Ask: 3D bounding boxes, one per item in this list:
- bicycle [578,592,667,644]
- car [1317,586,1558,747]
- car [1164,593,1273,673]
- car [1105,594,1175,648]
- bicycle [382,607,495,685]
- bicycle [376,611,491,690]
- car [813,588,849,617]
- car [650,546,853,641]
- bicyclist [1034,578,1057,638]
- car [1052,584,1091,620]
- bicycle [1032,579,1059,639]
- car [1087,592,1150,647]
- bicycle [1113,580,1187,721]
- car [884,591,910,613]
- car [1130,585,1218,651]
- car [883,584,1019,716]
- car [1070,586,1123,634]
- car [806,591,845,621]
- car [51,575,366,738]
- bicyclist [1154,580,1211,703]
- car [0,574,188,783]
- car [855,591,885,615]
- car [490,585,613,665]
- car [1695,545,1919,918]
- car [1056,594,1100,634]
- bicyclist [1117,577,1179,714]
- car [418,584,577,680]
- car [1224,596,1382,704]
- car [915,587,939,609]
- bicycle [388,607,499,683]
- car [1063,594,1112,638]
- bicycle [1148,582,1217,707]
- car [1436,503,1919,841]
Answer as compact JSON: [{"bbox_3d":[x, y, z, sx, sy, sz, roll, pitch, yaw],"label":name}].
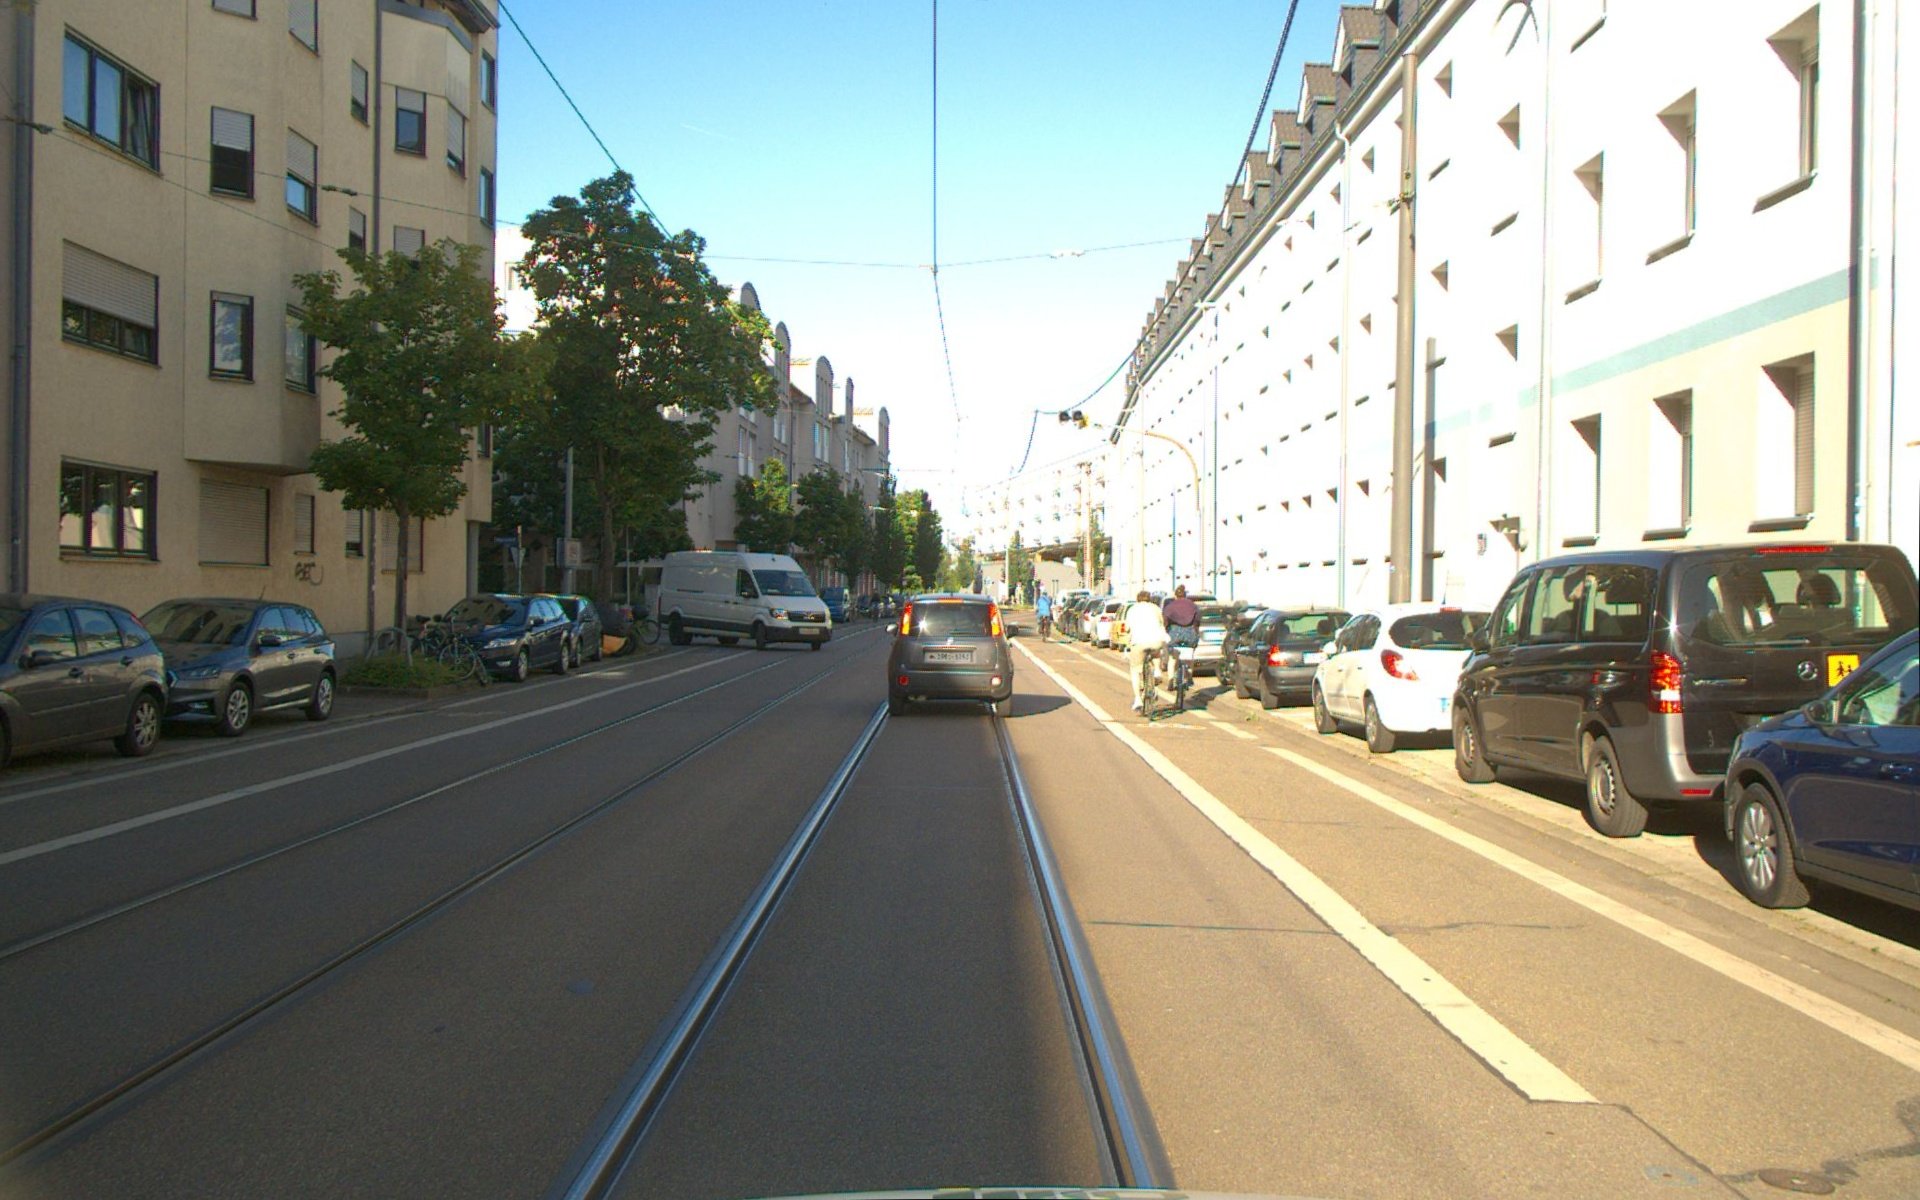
[{"bbox_3d":[-9.022,0.483,44.295,2.231,1.310,0.757,2,0,-5],"label":"bicycle"},{"bbox_3d":[5.004,0.643,17.736,1.622,1.526,3.129,2,0,-1],"label":"car"},{"bbox_3d":[5.115,0.619,33.127,1.551,1.430,3.376,-3,0,-1],"label":"car"},{"bbox_3d":[5.096,0.572,47.174,1.551,1.430,3.376,2,0,-1],"label":"car"},{"bbox_3d":[-8.608,0.756,27.315,1.694,1.217,0.372,2,0,-4],"label":"bicycle"},{"bbox_3d":[-8.559,0.814,26.920,1.694,1.217,0.372,2,0,-4],"label":"bicycle"},{"bbox_3d":[-7.221,0.119,92.938,1.672,1.523,3.722,2,0,1],"label":"car"},{"bbox_3d":[-5.903,-0.229,45.905,2.156,2.445,6.821,2,0,-41],"label":"car"},{"bbox_3d":[2.985,0.273,58.000,0.700,2.049,0.831,2,0,-1],"label":"bicyclist"},{"bbox_3d":[5.342,0.082,79.560,1.551,1.627,3.376,2,0,-1],"label":"car"},{"bbox_3d":[2.988,0.302,57.989,0.726,2.049,2.811,2,0,-1],"label":"bicycle"},{"bbox_3d":[4.924,0.575,51.684,1.551,1.627,3.376,2,0,-1],"label":"car"},{"bbox_3d":[2.530,0.642,22.234,0.661,1.777,2.157,2,0,-1],"label":"bicycle"},{"bbox_3d":[-4.613,0.164,121.012,1.672,1.523,3.722,2,0,1],"label":"car"},{"bbox_3d":[4.989,0.396,38.897,1.551,1.430,3.376,2,0,-1],"label":"car"},{"bbox_3d":[-0.104,0.601,22.329,1.616,1.568,4.234,2,0,0],"label":"car"},{"bbox_3d":[4.882,0.337,59.588,1.551,1.627,3.376,2,0,-1],"label":"car"},{"bbox_3d":[-7.217,0.327,88.843,1.672,1.523,3.722,2,0,1],"label":"car"},{"bbox_3d":[-8.583,0.576,19.315,1.771,1.648,4.064,2,0,0],"label":"car"},{"bbox_3d":[3.328,0.613,24.798,0.685,1.790,0.757,2,0,-1],"label":"bicyclist"},{"bbox_3d":[-8.559,0.608,14.353,1.771,1.648,4.064,2,0,0],"label":"car"},{"bbox_3d":[-5.901,0.181,108.719,1.672,1.523,3.722,2,0,1],"label":"car"},{"bbox_3d":[-8.702,0.507,35.489,1.797,1.583,3.376,2,0,-1],"label":"car"},{"bbox_3d":[4.947,0.588,7.298,1.622,1.598,3.875,2,0,-1],"label":"car"},{"bbox_3d":[4.952,0.567,69.811,1.551,1.627,3.376,2,0,-1],"label":"car"},{"bbox_3d":[2.510,0.599,22.158,0.685,1.790,0.757,2,0,-1],"label":"bicyclist"},{"bbox_3d":[-8.392,0.542,30.328,1.797,1.583,3.999,2,0,-1],"label":"car"},{"bbox_3d":[4.979,0.681,24.420,1.551,1.430,3.376,2,0,-1],"label":"car"},{"bbox_3d":[-2.709,-0.195,137.531,1.817,1.790,3.573,0,0,1],"label":"car"},{"bbox_3d":[-8.651,0.752,27.729,1.694,1.217,0.372,2,0,-4],"label":"bicycle"},{"bbox_3d":[4.910,0.593,64.054,1.551,1.627,3.376,2,0,-1],"label":"car"},{"bbox_3d":[3.317,0.637,24.837,0.661,1.777,2.157,2,0,-1],"label":"bicycle"},{"bbox_3d":[5.058,0.422,12.256,1.622,1.978,4.664,2,0,-1],"label":"car"}]
